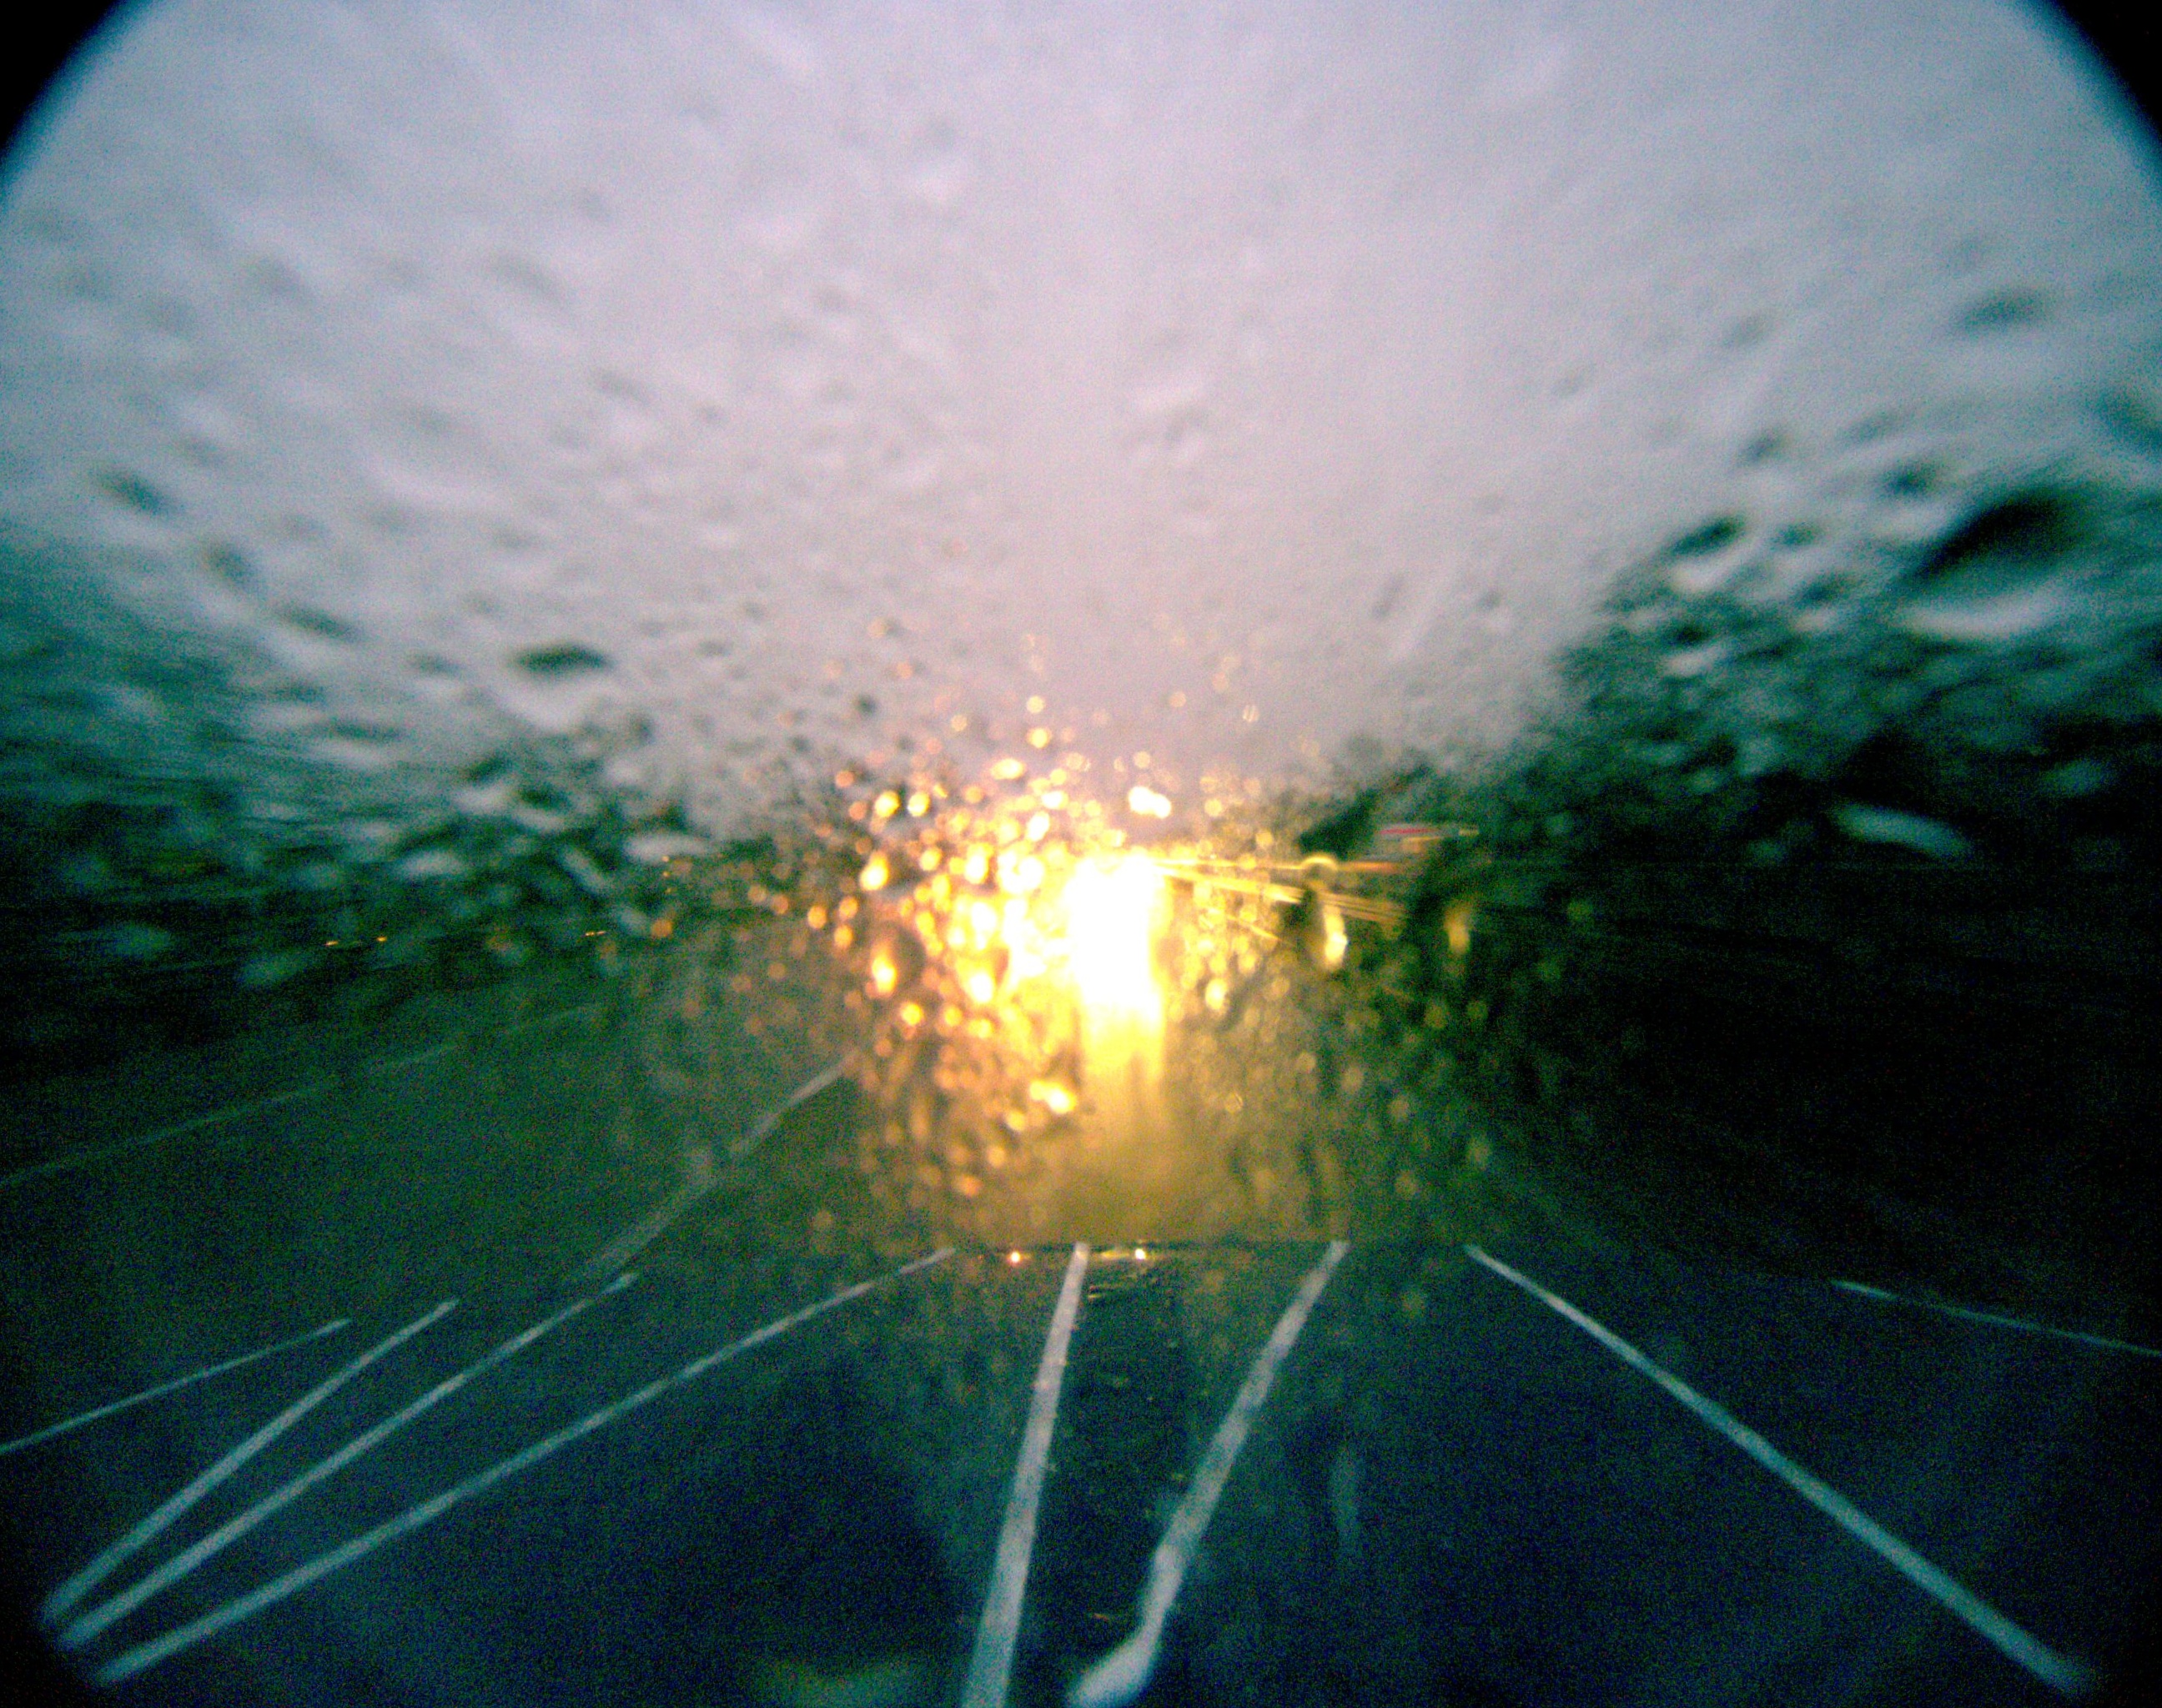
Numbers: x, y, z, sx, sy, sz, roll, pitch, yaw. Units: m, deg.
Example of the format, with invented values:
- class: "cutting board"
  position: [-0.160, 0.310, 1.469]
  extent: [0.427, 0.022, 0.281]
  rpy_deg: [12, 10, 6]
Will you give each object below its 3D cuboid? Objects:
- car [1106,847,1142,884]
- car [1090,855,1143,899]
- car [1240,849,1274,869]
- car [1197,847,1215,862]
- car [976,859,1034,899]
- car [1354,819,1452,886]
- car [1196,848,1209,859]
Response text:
- class: "car"
  position: [2.621, 0.660, 47.126]
  extent: [1.796, 2.002, 3.723]
  rpy_deg: [-5, 2, -1]
- class: "car"
  position: [1.393, 0.852, 29.698]
  extent: [1.850, 1.521, 4.149]
  rpy_deg: [-2, 0, 3]
- class: "car"
  position: [14.149, 0.399, 61.335]
  extent: [1.850, 1.520, 4.304]
  rpy_deg: [-2, 0, 3]
- class: "car"
  position: [17.358, 0.101, 105.466]
  extent: [1.850, 1.903, 4.304]
  rpy_deg: [-2, 0, 3]
- class: "car"
  position: [-3.216, 1.040, 33.053]
  extent: [1.850, 1.521, 4.149]
  rpy_deg: [-2, 0, 3]
- class: "car"
  position: [12.952, -0.072, 31.000]
  extent: [1.850, 2.422, 5.417]
  rpy_deg: [-2, 0, 3]
- class: "car"
  position: [22.126, -0.036, 138.505]
  extent: [1.850, 1.903, 4.304]
  rpy_deg: [-2, 0, 3]
